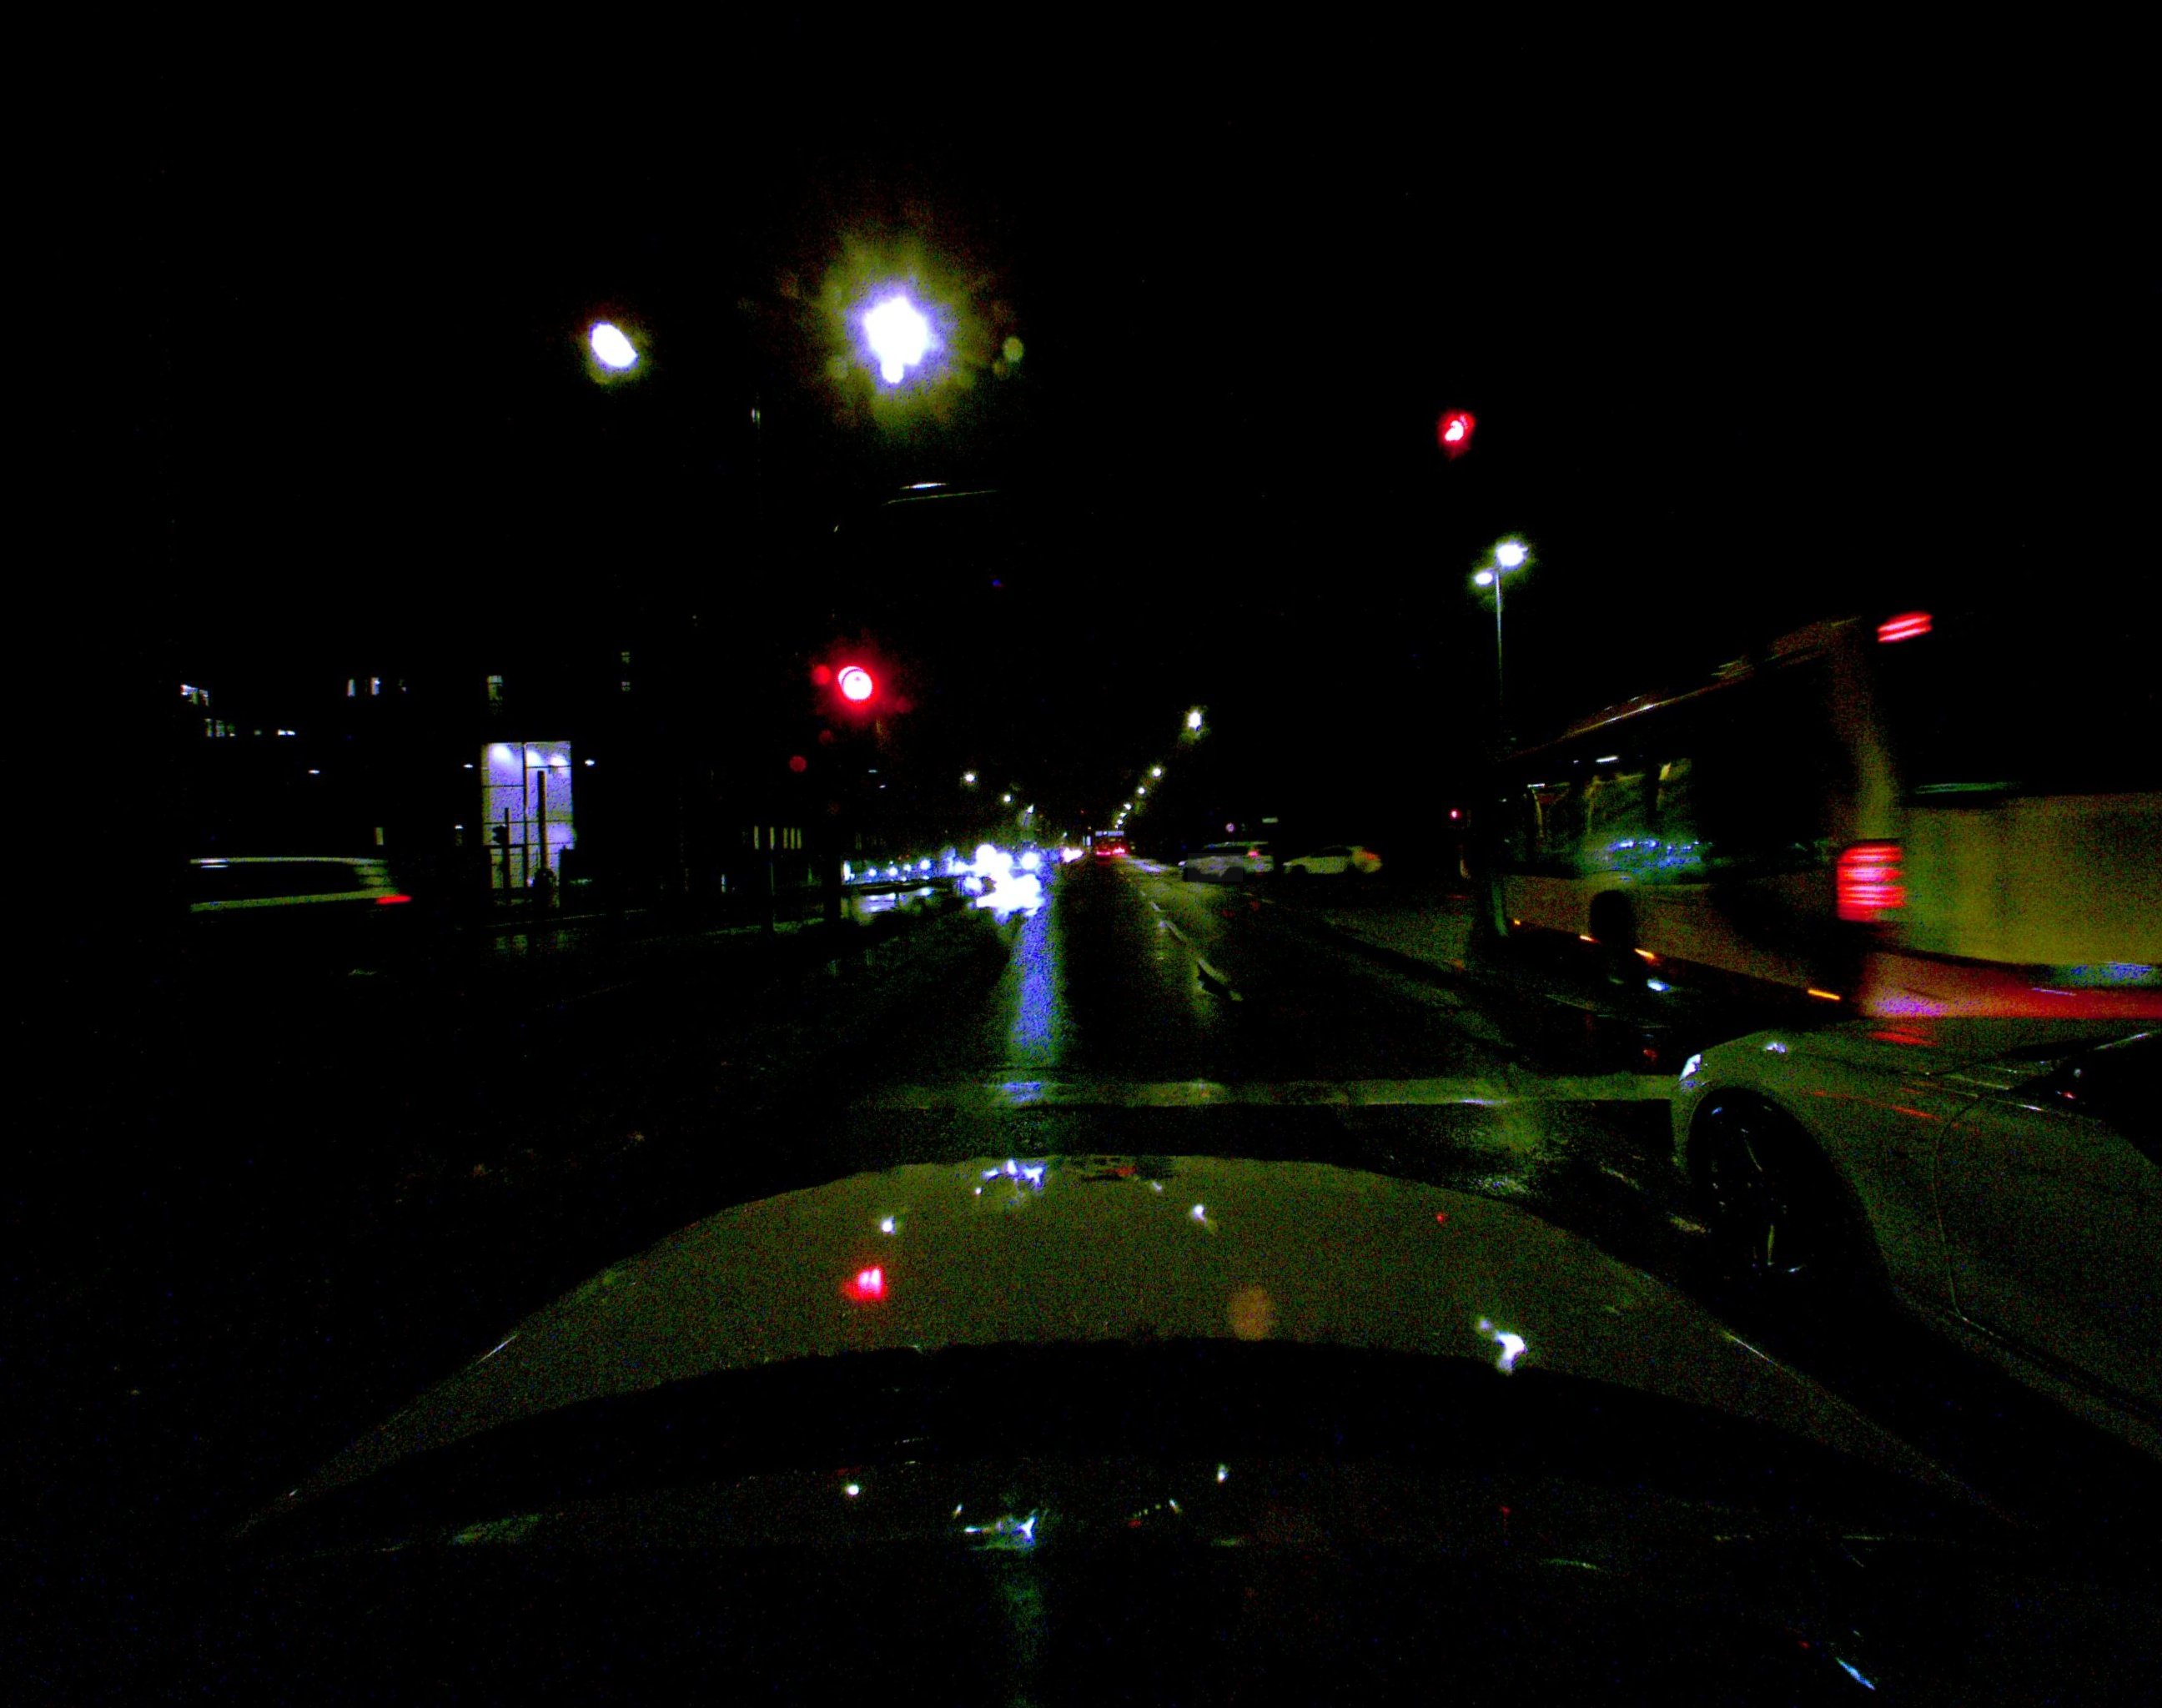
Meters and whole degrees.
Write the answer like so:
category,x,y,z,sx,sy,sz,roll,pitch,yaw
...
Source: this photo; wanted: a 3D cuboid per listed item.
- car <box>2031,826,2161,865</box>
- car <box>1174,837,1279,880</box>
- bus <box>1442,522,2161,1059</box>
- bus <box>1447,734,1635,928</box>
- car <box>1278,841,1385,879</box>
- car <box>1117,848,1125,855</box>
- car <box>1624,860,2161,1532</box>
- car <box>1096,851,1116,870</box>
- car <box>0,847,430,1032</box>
category,x,y,z,sx,sy,sz,roll,pitch,yaw
car,40.563,-0.319,31.929,4.113,1.487,1.802,0,-1,11
car,6.658,0.223,37.643,4.569,1.874,1.807,-1,-1,44
bus,6.989,-0.395,9.585,2.752,3.123,9.790,0,0,10
bus,10.213,-0.402,18.046,2.742,3.123,9.823,0,0,30
car,11.533,0.296,37.628,4.371,1.679,1.808,-1,-1,33
car,10.869,-0.680,220.933,1.986,1.759,4.001,0,-1,2
car,3.113,0.717,1.293,1.710,1.404,4.351,0,-1,2
car,2.927,0.779,94.328,2.125,2.145,4.934,0,-1,4
car,-12.020,0.931,10.680,1.977,1.984,5.135,-2,0,19
